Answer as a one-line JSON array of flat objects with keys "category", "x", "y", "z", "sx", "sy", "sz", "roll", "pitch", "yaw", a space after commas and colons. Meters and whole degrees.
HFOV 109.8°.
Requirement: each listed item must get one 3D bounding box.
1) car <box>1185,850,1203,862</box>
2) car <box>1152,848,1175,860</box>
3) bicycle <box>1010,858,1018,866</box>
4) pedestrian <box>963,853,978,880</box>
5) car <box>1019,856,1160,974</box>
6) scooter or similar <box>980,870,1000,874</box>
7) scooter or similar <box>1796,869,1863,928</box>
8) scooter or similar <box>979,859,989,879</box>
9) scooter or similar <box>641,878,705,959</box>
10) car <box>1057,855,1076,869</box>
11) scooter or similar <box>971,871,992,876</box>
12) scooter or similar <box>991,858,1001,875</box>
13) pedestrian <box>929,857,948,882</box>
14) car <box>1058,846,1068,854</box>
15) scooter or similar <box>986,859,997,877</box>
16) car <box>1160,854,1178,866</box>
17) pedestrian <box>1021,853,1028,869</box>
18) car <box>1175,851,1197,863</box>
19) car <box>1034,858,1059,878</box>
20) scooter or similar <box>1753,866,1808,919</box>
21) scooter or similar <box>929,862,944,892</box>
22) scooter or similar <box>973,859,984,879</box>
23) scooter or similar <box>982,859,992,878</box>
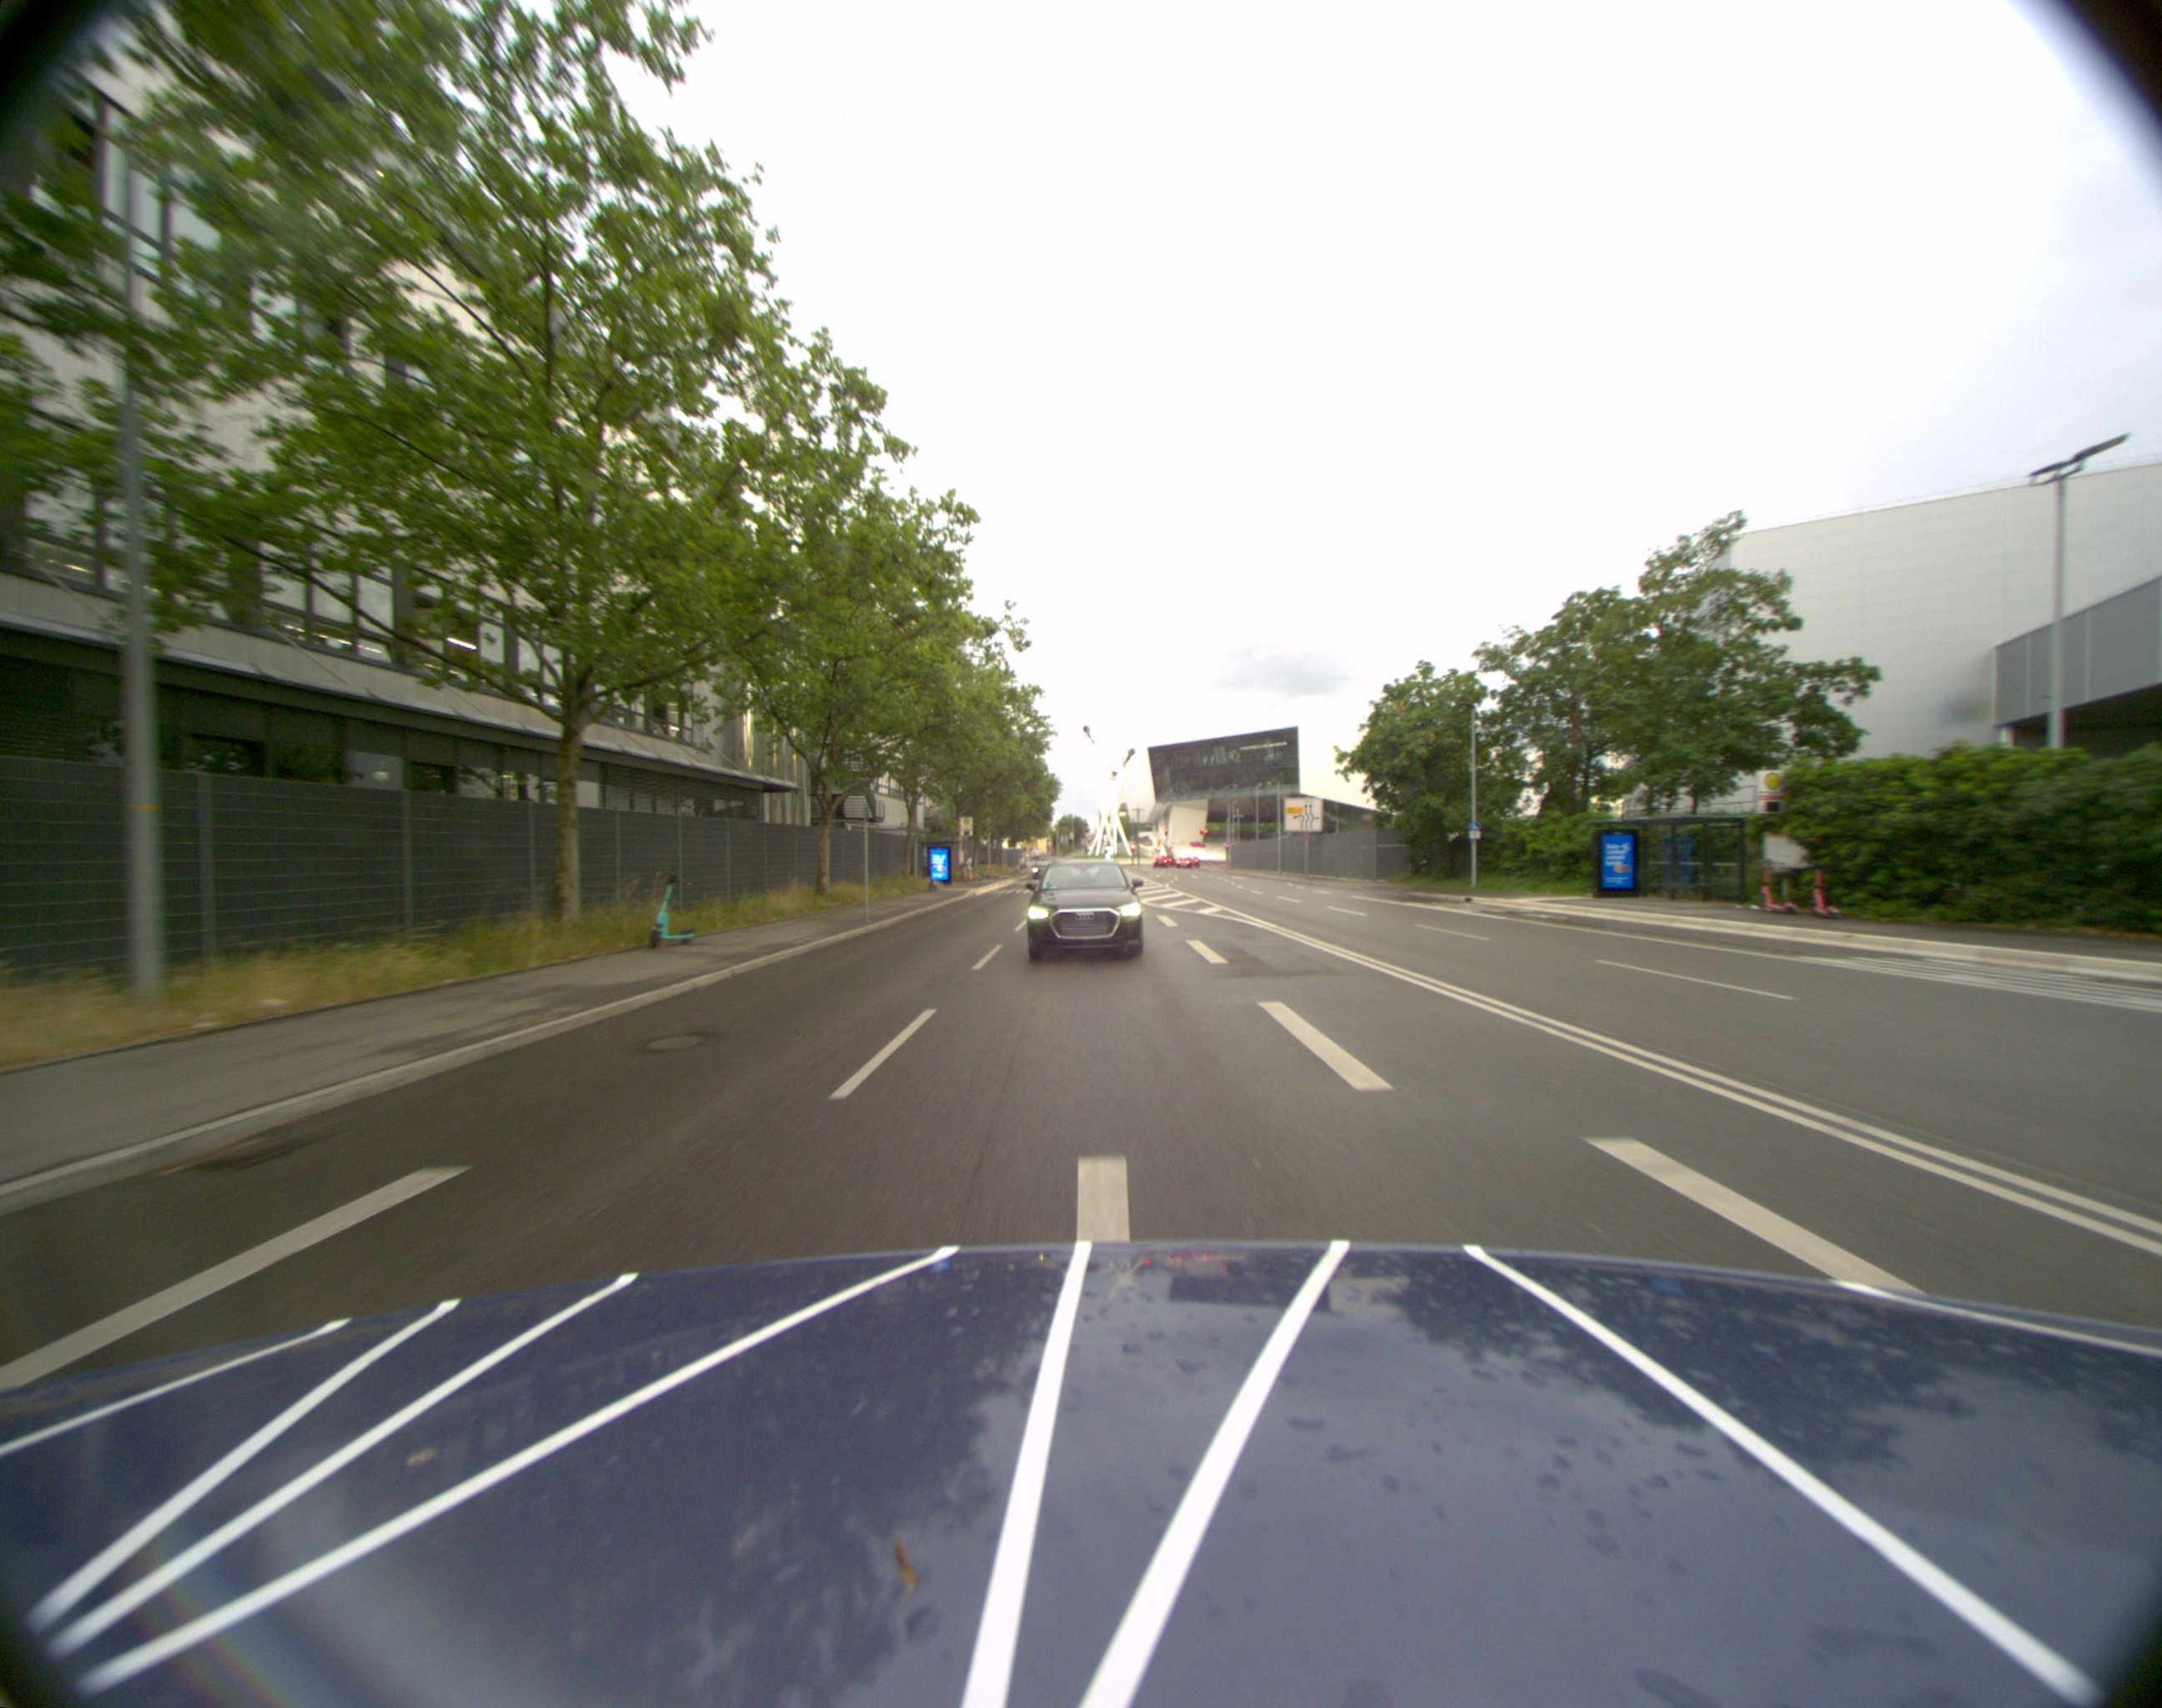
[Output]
[{"category": "car", "x": 15.964, "y": 0.233, "z": 107.184, "sx": 1.861, "sy": 1.641, "sz": 3.793, "roll": 0, "pitch": 0, "yaw": 20}, {"category": "car", "x": 11.114, "y": -0.003, "z": 102.092, "sx": 2.255, "sy": 1.469, "sz": 3.884, "roll": 0, "pitch": 0, "yaw": 18}, {"category": "bicycle", "x": -7.786, "y": 0.883, "z": 87.857, "sx": 0.727, "sy": 0.870, "sz": 1.904, "roll": -1, "pitch": 1, "yaw": 0}, {"category": "pedestrian", "x": -6.884, "y": 0.767, "z": 47.393, "sx": 0.778, "sy": 1.700, "sz": 0.729, "roll": -1, "pitch": 1, "yaw": 0}, {"category": "car", "x": 0.087, "y": 0.875, "z": 13.417, "sx": 1.951, "sy": 1.609, "sz": 5.276, "roll": -2, "pitch": 0, "yaw": -1}, {"category": "scooter or similar", "x": -7.246, "y": 1.434, "z": 60.479, "sx": 1.184, "sy": 0.309, "sz": 1.200, "roll": -1, "pitch": 0, "yaw": -28}, {"category": "scooter or similar", "x": 16.134, "y": 0.930, "z": 16.412, "sx": 0.379, "sy": 1.174, "sz": 1.379, "roll": 0, "pitch": 1, "yaw": 14}, {"category": "scooter or similar", "x": -6.554, "y": 0.994, "z": 51.312, "sx": 0.437, "sy": 1.288, "sz": 1.301, "roll": 0, "pitch": 1, "yaw": 4}, {"category": "scooter or similar", "x": -6.872, "y": 1.059, "z": 12.836, "sx": 0.329, "sy": 1.262, "sz": 1.109, "roll": 0, "pitch": 1, "yaw": 9}, {"category": "car", "x": -1.529, "y": 0.823, "z": 81.233, "sx": 1.842, "sy": 1.444, "sz": 4.785, "roll": -2, "pitch": 0, "yaw": -1}, {"category": "scooter or similar", "x": -7.544, "y": 1.446, "z": 57.571, "sx": 1.098, "sy": 0.343, "sz": 1.260, "roll": 0, "pitch": 0, "yaw": 24}, {"category": "scooter or similar", "x": -6.566, "y": 0.996, "z": 58.822, "sx": 0.437, "sy": 1.277, "sz": 1.301, "roll": 0, "pitch": 1, "yaw": 8}, {"category": "pedestrian", "x": -8.204, "y": 0.888, "z": 43.780, "sx": 0.932, "sy": 1.408, "sz": 0.698, "roll": -1, "pitch": 1, "yaw": 0}, {"category": "car", "x": -3.529, "y": -0.778, "z": 149.494, "sx": 1.951, "sy": 1.610, "sz": 4.073, "roll": 0, "pitch": 0, "yaw": -1}, {"category": "scooter or similar", "x": -6.509, "y": 0.987, "z": 55.407, "sx": 0.437, "sy": 1.288, "sz": 1.368, "roll": 0, "pitch": 1, "yaw": 8}, {"category": "car", "x": 12.377, "y": 0.833, "z": 107.146, "sx": 1.878, "sy": 1.641, "sz": 3.857, "roll": 0, "pitch": 0, "yaw": 17}, {"category": "pedestrian", "x": -5.974, "y": 0.728, "z": 80.325, "sx": 0.723, "sy": 1.610, "sz": 0.833, "roll": 2, "pitch": 1, "yaw": 0}, {"category": "car", "x": 13.879, "y": 0.399, "z": 100.222, "sx": 2.267, "sy": 1.469, "sz": 4.053, "roll": 0, "pitch": 0, "yaw": 18}, {"category": "car", "x": -2.670, "y": 1.028, "z": 58.969, "sx": 1.881, "sy": 1.485, "sz": 4.075, "roll": 0, "pitch": 0, "yaw": -3}, {"category": "scooter or similar", "x": 16.493, "y": 0.888, "z": 17.941, "sx": 0.389, "sy": 1.173, "sz": 1.251, "roll": 0, "pitch": 1, "yaw": 14}, {"category": "scooter or similar", "x": -6.655, "y": 1.048, "z": 35.045, "sx": 0.329, "sy": 1.301, "sz": 1.246, "roll": 0, "pitch": 1, "yaw": 5}, {"category": "scooter or similar", "x": -6.739, "y": 0.973, "z": 49.895, "sx": 0.437, "sy": 1.288, "sz": 1.301, "roll": 0, "pitch": 1, "yaw": 4}, {"category": "scooter or similar", "x": -6.633, "y": 0.993, "z": 53.496, "sx": 0.437, "sy": 1.288, "sz": 1.301, "roll": 0, "pitch": 1, "yaw": 4}]
